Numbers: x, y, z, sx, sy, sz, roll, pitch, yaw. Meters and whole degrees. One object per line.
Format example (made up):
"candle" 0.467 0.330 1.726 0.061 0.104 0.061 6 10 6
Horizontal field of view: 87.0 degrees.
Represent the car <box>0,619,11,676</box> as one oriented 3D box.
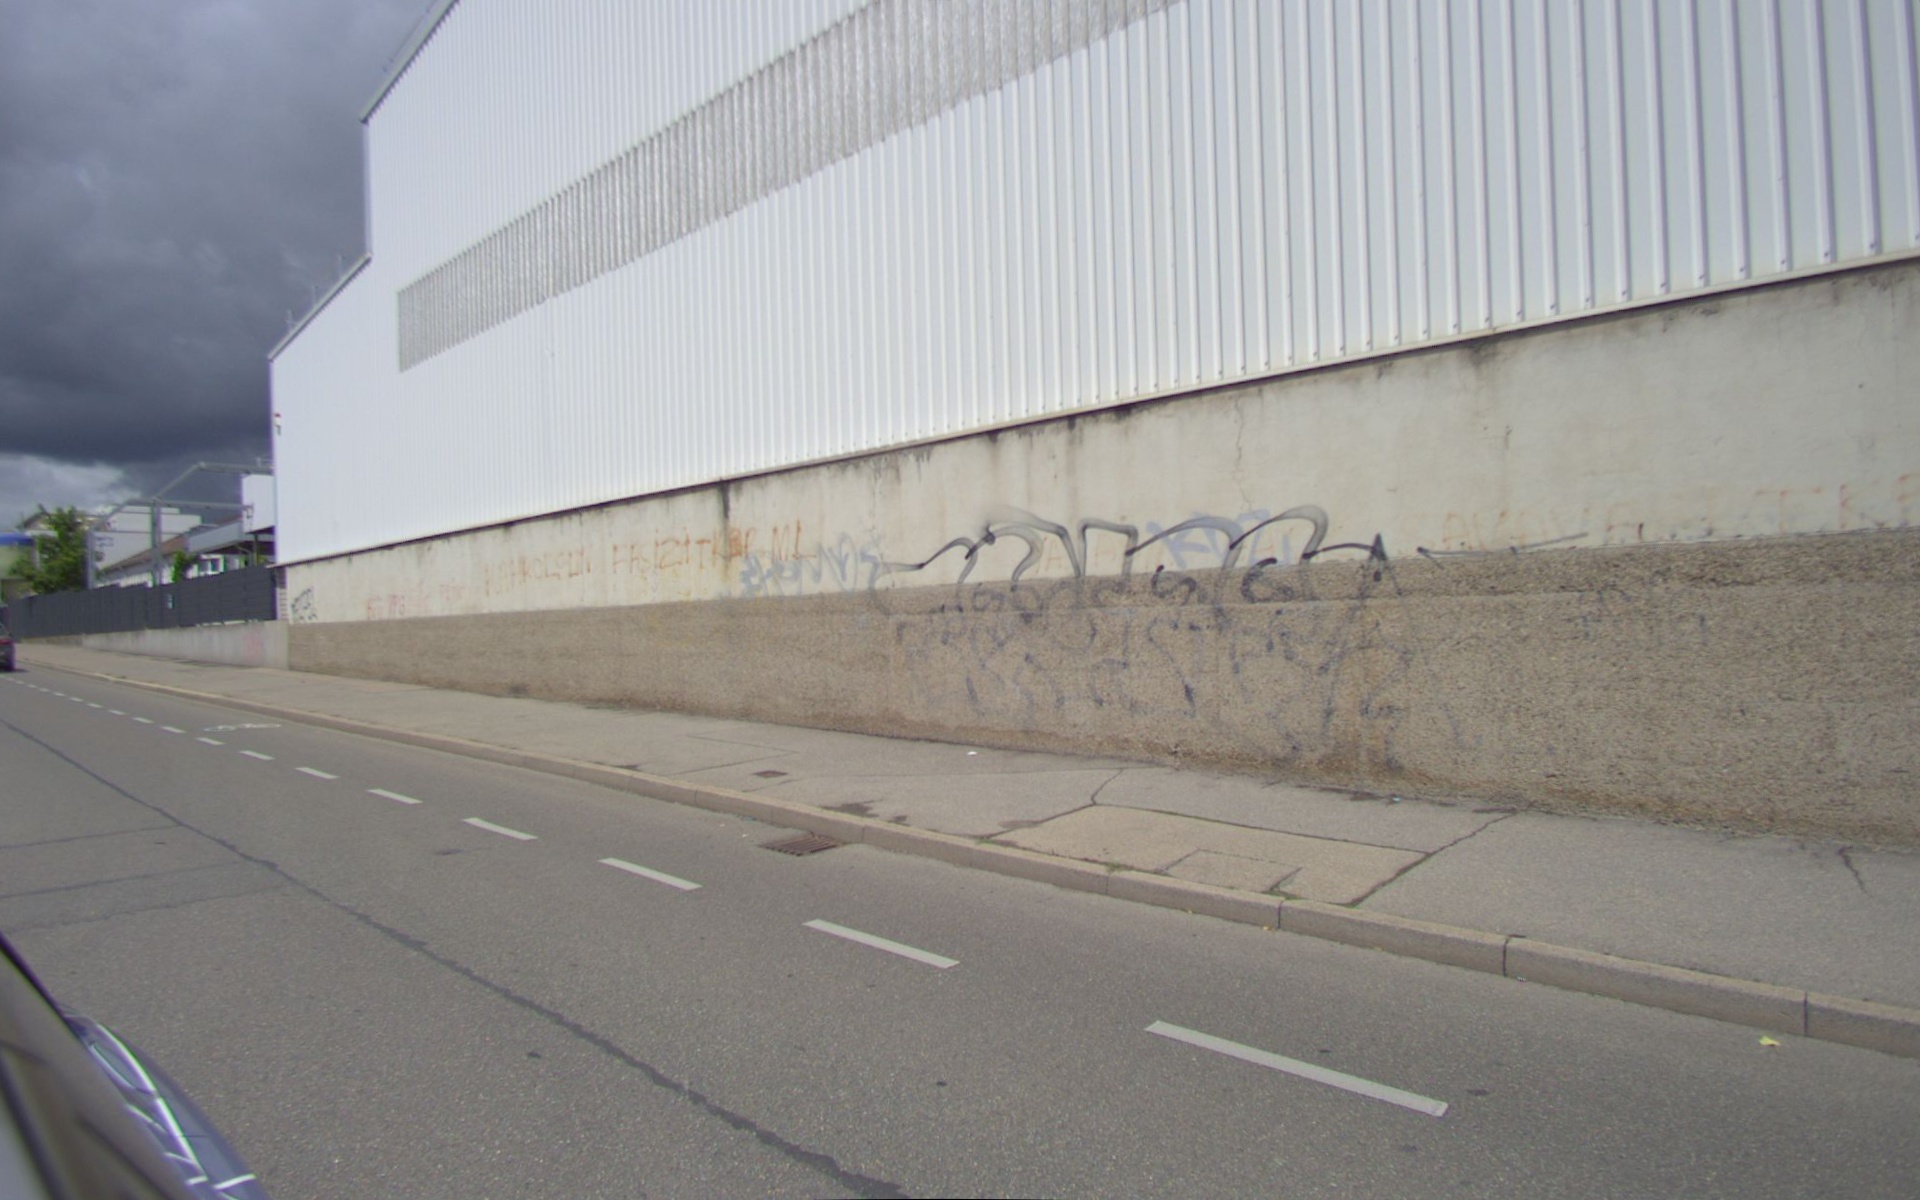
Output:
"car" -29.198 1.317 29.523 4.285 1.567 1.701 0 -3 41
